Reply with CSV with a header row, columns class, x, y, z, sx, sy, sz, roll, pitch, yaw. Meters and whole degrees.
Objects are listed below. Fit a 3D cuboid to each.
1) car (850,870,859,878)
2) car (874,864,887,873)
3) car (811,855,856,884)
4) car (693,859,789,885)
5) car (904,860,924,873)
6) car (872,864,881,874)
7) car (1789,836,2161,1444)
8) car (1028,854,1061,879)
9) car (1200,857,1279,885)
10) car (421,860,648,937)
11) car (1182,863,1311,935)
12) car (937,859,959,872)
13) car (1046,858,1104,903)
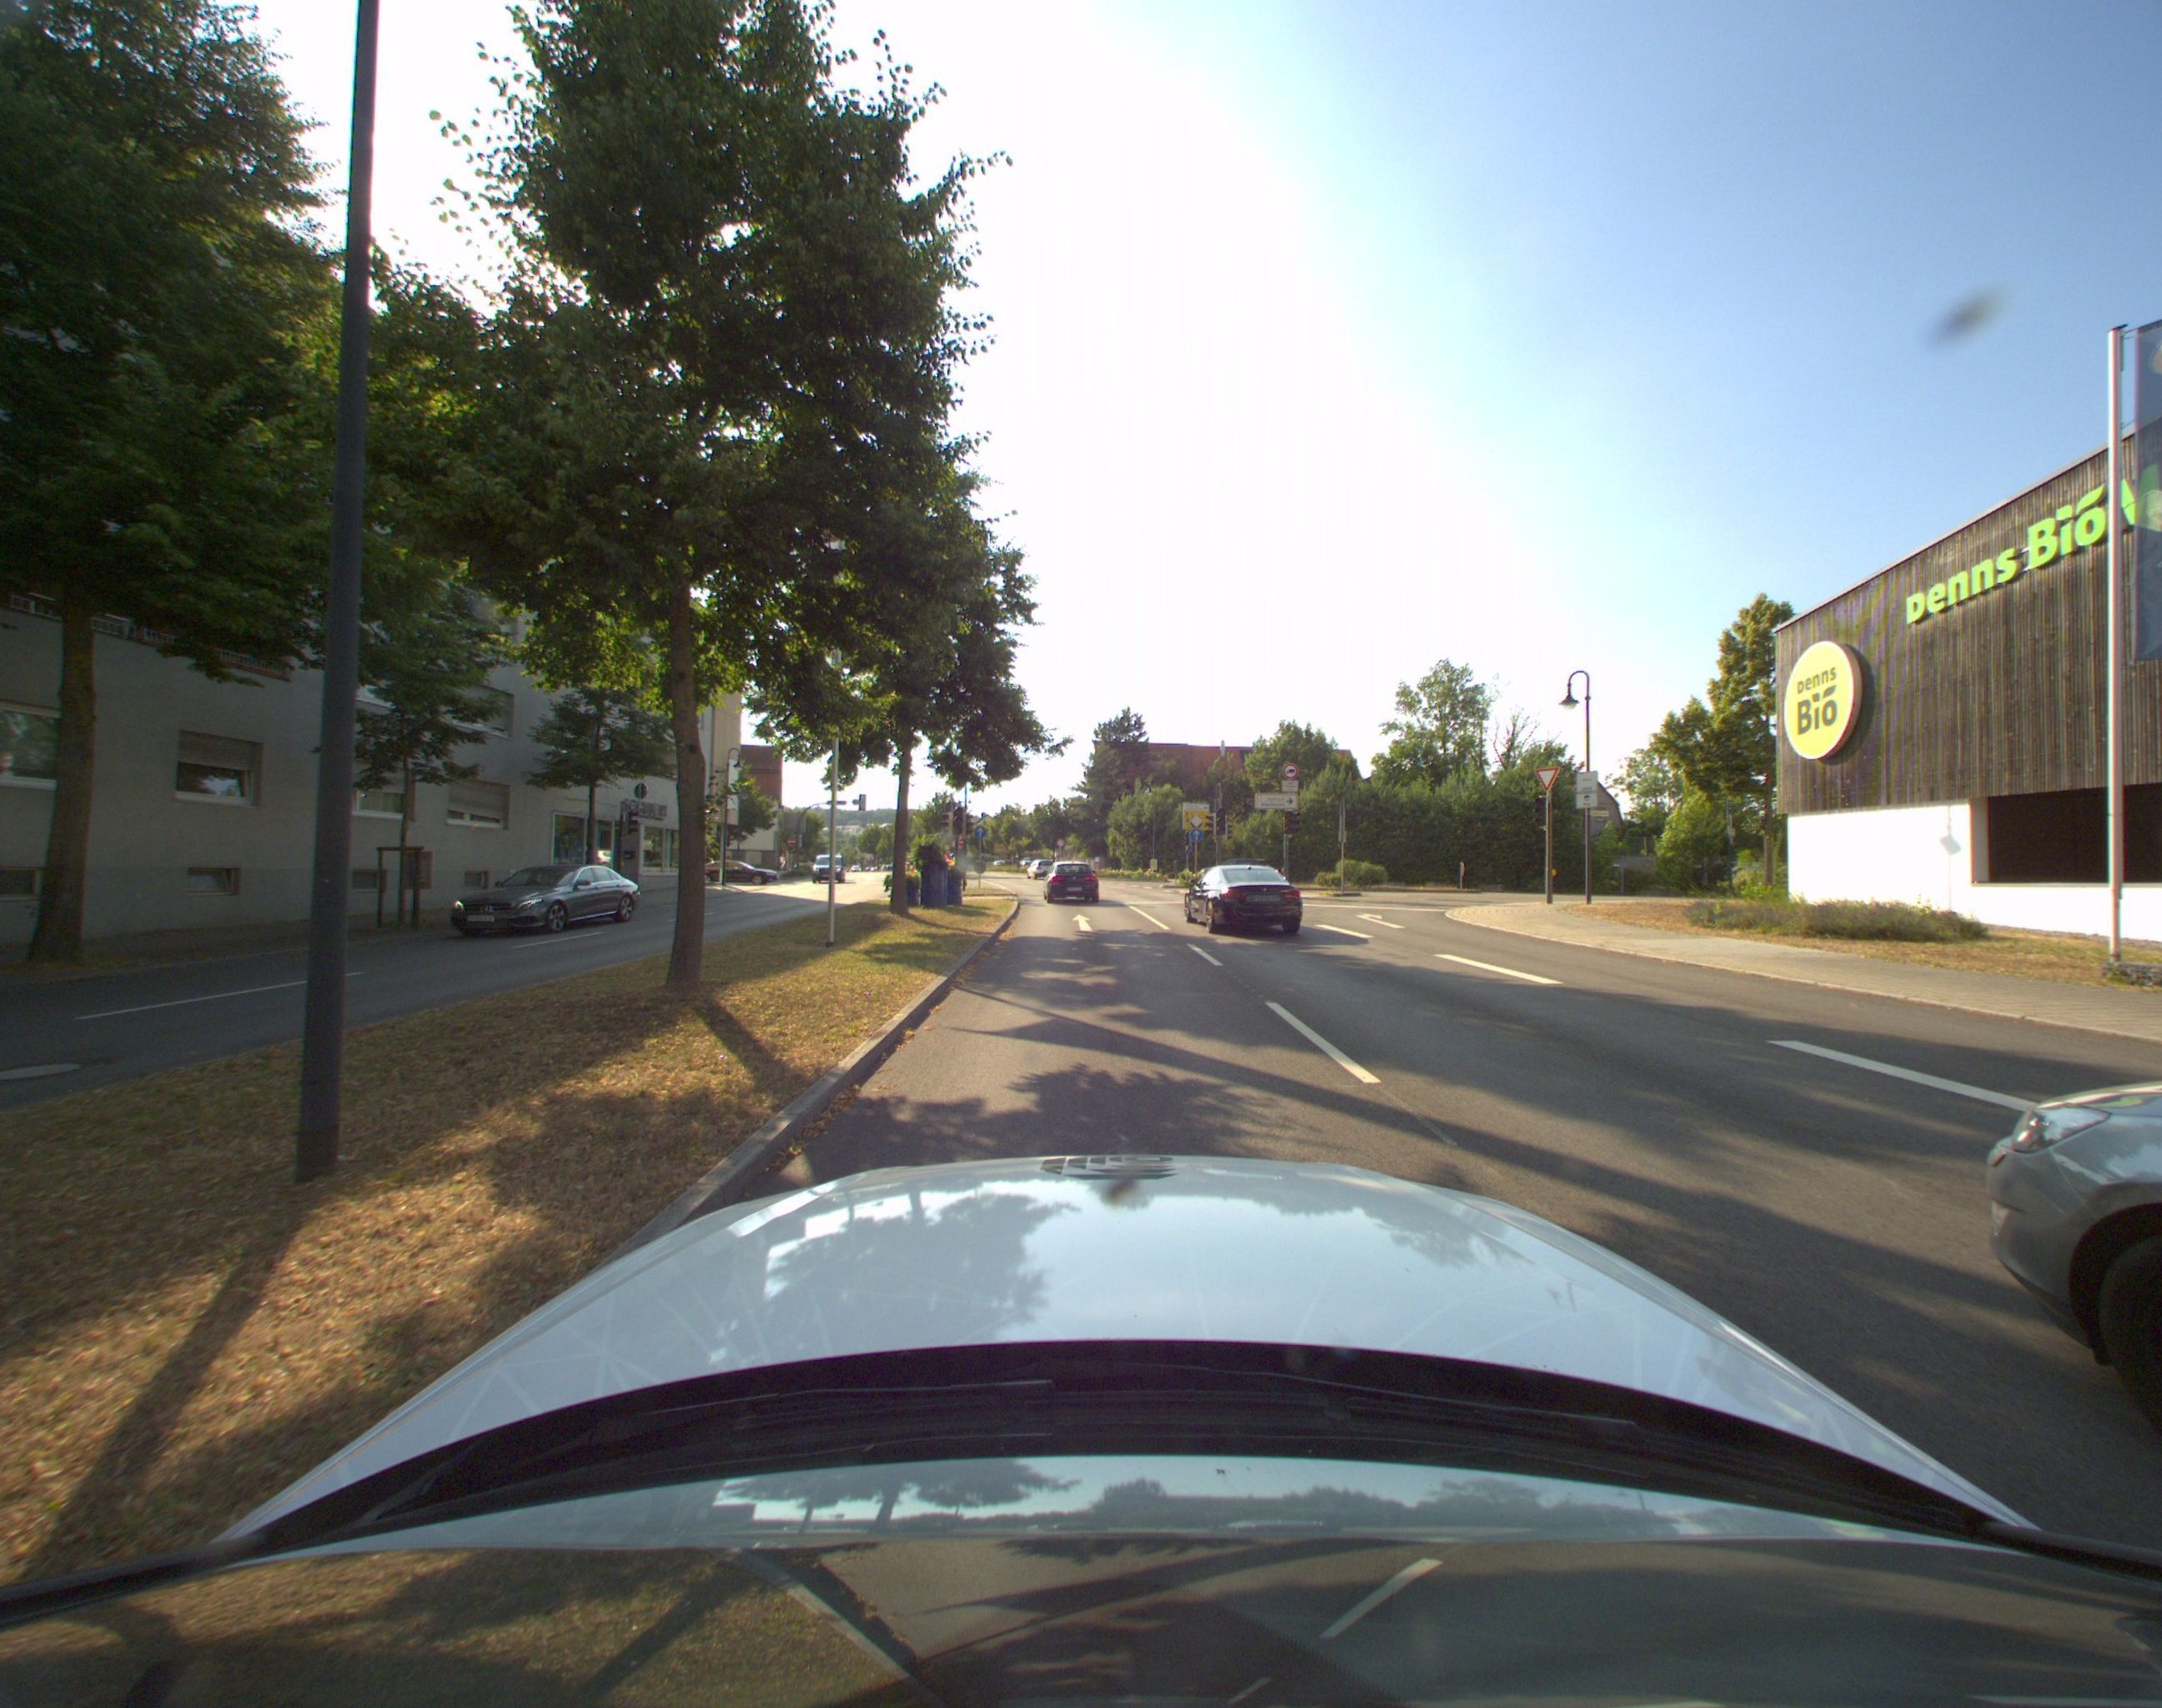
class,x,y,z,sx,sy,sz,roll,pitch,yaw
car,-47.703,4.185,171.512,1.734,1.679,3.976,0,-1,-17
car,-41.201,3.042,167.666,2.223,1.769,4.425,0,-1,-19
car,-16.014,0.994,52.965,1.850,1.736,4.912,-1,-1,-6
car,-19.825,1.024,47.673,4.858,1.437,1.911,-1,-1,-10
car,-24.338,1.800,118.519,2.223,1.769,4.425,0,-1,-19
car,-44.455,3.266,177.123,1.775,2.014,3.980,0,-1,-14
car,3.476,0.695,0.901,1.715,1.490,4.307,0,0,1
car,-2.806,0.924,61.677,1.925,1.769,4.439,0,-1,-10
car,9.342,0.983,48.243,4.216,1.567,1.804,0,-1,33
car,-11.930,0.894,18.307,1.848,1.486,4.992,-1,-1,-2
car,3.427,0.894,17.683,1.914,1.364,4.352,0,-1,0
car,-17.990,1.559,110.206,2.223,1.769,4.425,0,-1,-19
car,-0.141,0.912,29.115,1.713,1.490,4.358,0,-1,4
